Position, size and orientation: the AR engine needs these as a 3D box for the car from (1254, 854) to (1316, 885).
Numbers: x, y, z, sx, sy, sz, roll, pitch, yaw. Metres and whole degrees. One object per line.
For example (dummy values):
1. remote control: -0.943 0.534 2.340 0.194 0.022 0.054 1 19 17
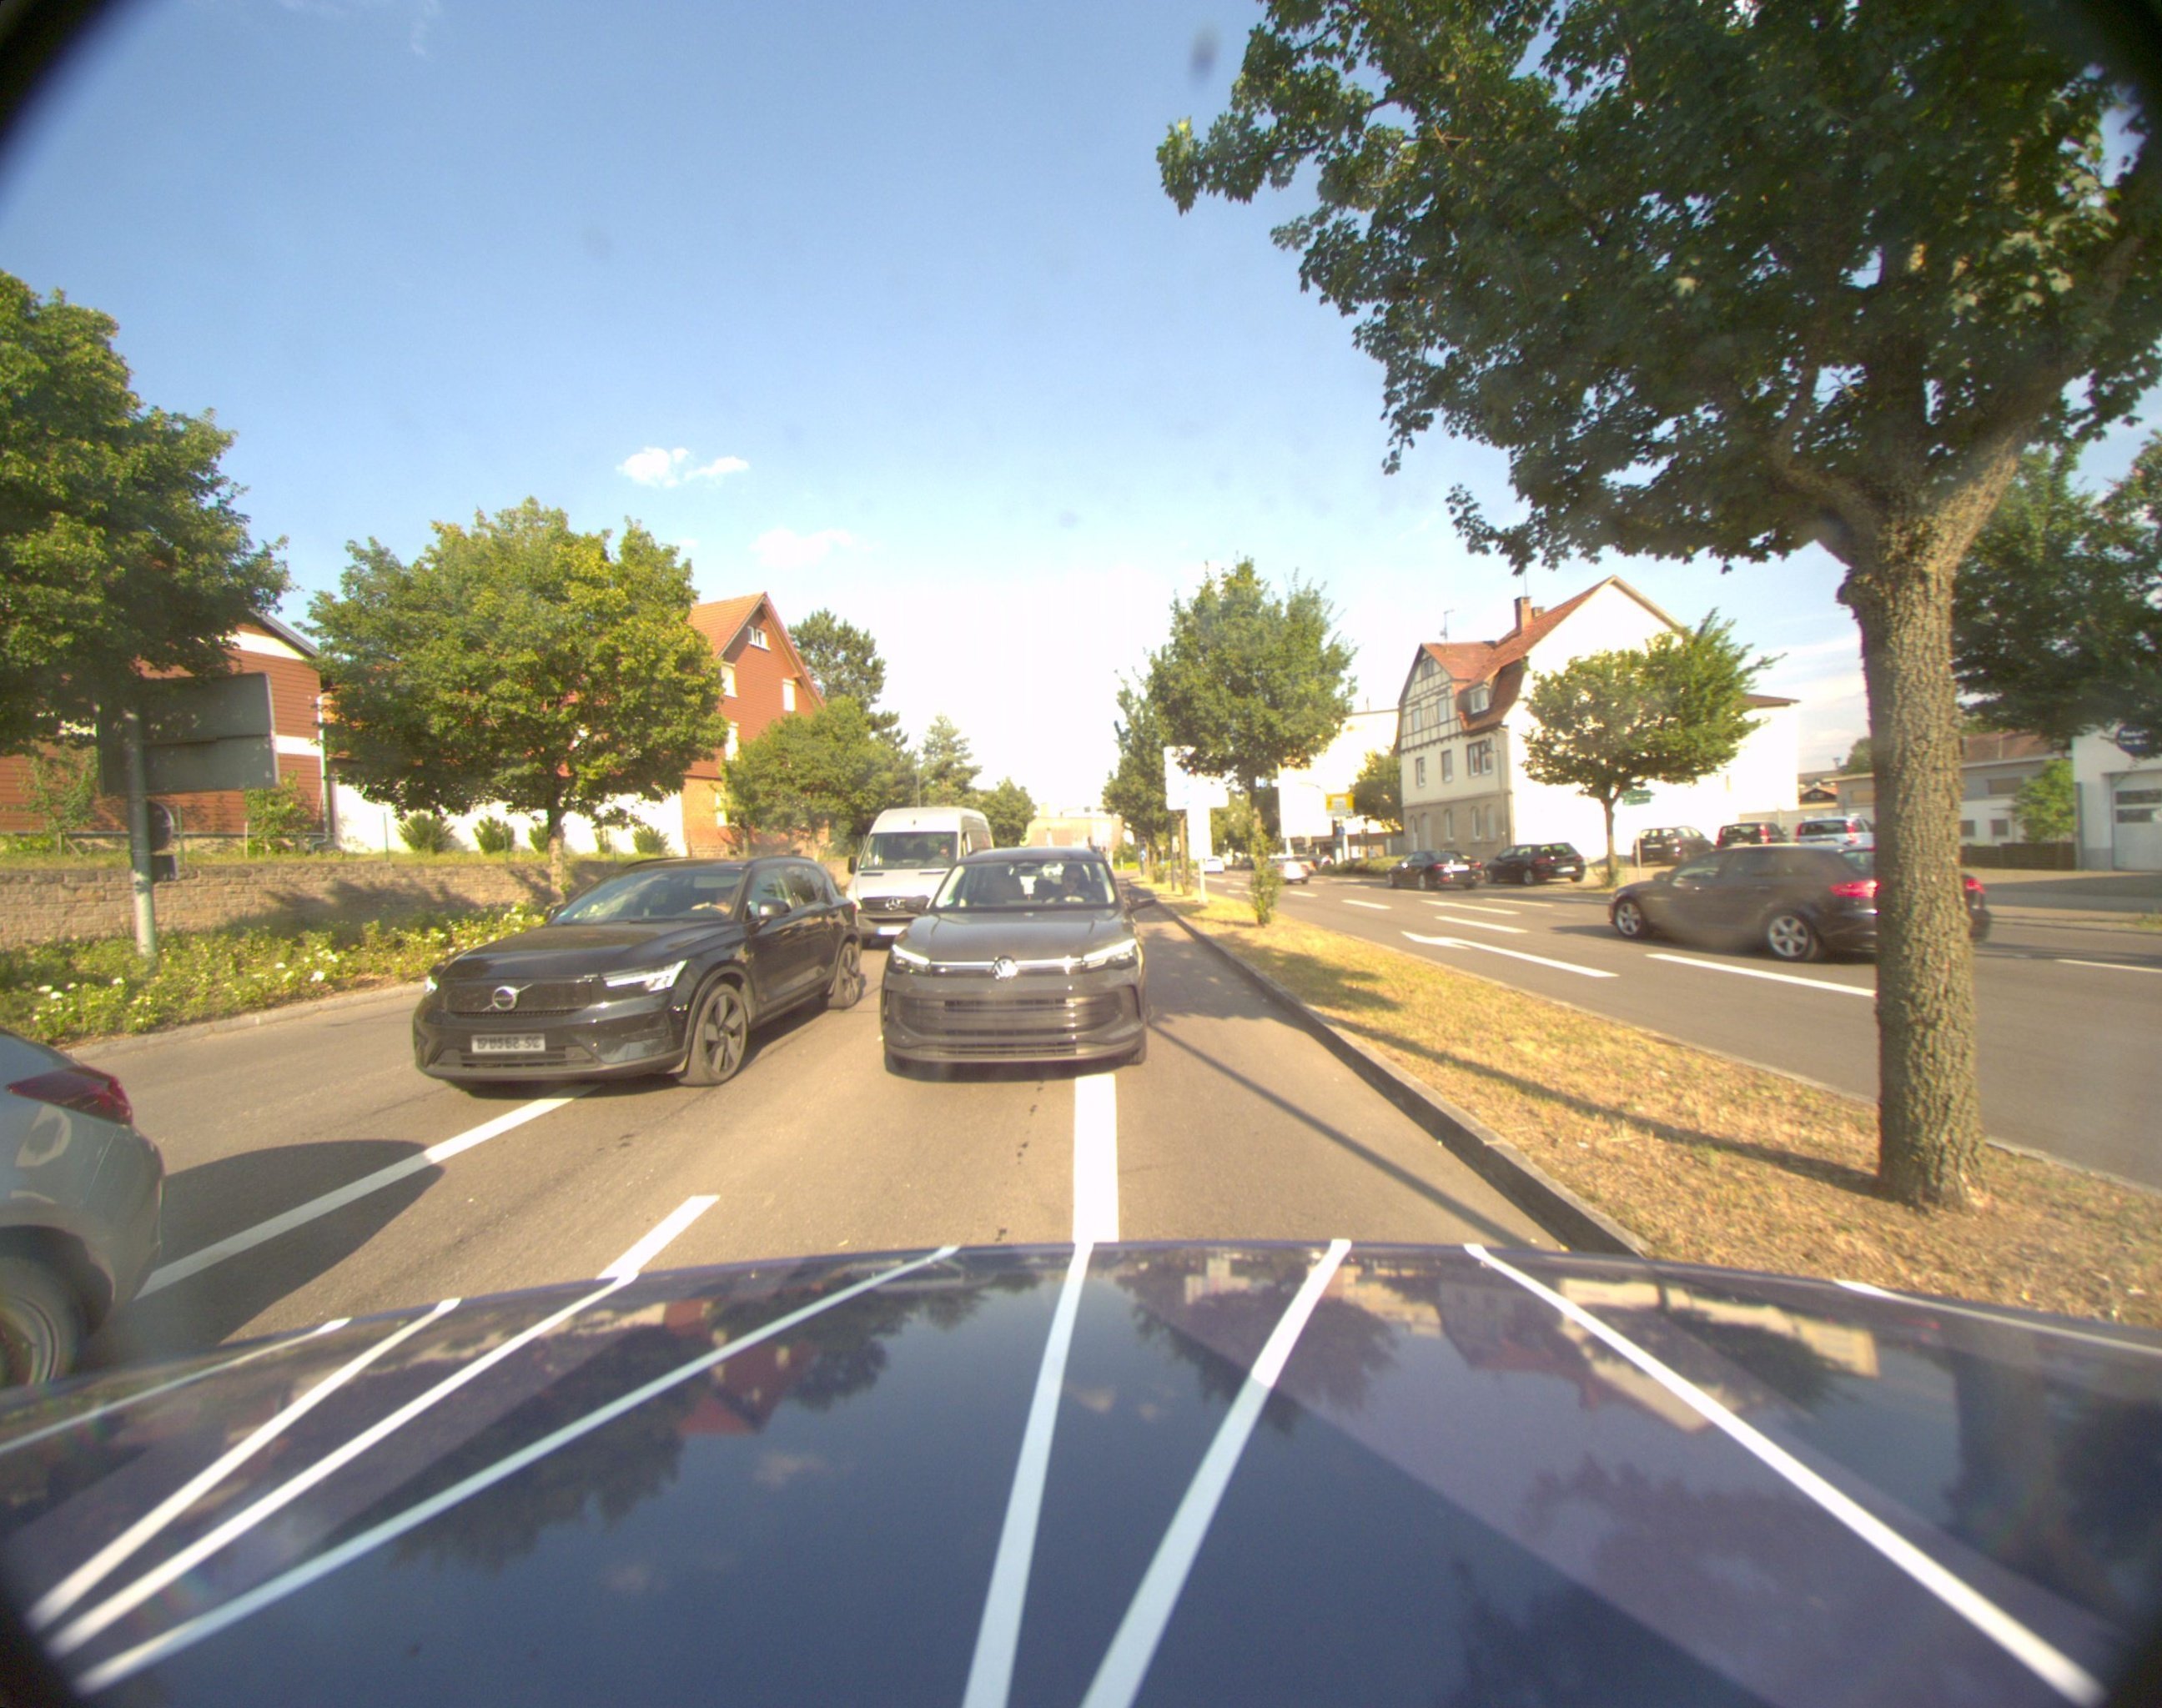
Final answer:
1. car: 9.768 0.696 36.695 1.785 1.341 4.478 -2 0 0

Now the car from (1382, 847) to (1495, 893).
1. car: 12.573 0.512 27.075 1.848 1.413 4.644 -2 0 1

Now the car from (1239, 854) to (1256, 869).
1. car: 18.732 0.799 85.446 1.810 1.488 4.249 -2 0 13

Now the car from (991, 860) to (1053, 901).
1. car: -2.193 0.960 29.442 1.765 1.346 4.132 -2 0 4

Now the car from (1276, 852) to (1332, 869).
1. car: 20.283 0.578 69.200 4.660 1.346 1.768 -2 1 9

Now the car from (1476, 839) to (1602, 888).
1. car: 15.995 0.306 26.799 1.839 1.435 4.195 -5 0 1

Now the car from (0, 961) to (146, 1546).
1. car: -3.625 1.066 0.115 1.748 1.433 4.166 -2 0 0

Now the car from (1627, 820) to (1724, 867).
1. car: 23.394 -0.412 29.870 4.006 1.543 1.764 -4 1 -33

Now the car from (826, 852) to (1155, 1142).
1. car: -0.481 0.847 6.870 1.894 1.647 4.730 -2 0 1

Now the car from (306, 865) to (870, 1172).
1. car: -3.361 0.966 6.354 1.886 1.599 4.128 -2 0 2

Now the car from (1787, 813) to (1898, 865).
1. car: 24.966 -0.490 24.889 4.006 1.543 1.763 -2 1 -33

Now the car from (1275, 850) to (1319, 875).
1. car: 13.767 0.483 48.722 1.690 1.454 4.712 -2 0 4

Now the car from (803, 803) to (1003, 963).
1. car: -3.226 0.456 15.497 2.370 2.532 6.192 -2 0 2

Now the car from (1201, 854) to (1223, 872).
1. car: 11.632 0.783 67.641 1.804 1.488 3.958 -2 0 9

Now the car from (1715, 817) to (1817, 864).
1. car: 24.892 -0.491 27.564 4.006 1.543 1.763 -2 1 -33

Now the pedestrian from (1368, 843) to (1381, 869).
1. pedestrian: 23.007 0.151 59.544 0.589 1.971 0.698 -3 1 -38

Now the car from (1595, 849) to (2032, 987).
1. car: 9.054 0.655 10.010 1.649 1.378 4.189 -2 0 -1
